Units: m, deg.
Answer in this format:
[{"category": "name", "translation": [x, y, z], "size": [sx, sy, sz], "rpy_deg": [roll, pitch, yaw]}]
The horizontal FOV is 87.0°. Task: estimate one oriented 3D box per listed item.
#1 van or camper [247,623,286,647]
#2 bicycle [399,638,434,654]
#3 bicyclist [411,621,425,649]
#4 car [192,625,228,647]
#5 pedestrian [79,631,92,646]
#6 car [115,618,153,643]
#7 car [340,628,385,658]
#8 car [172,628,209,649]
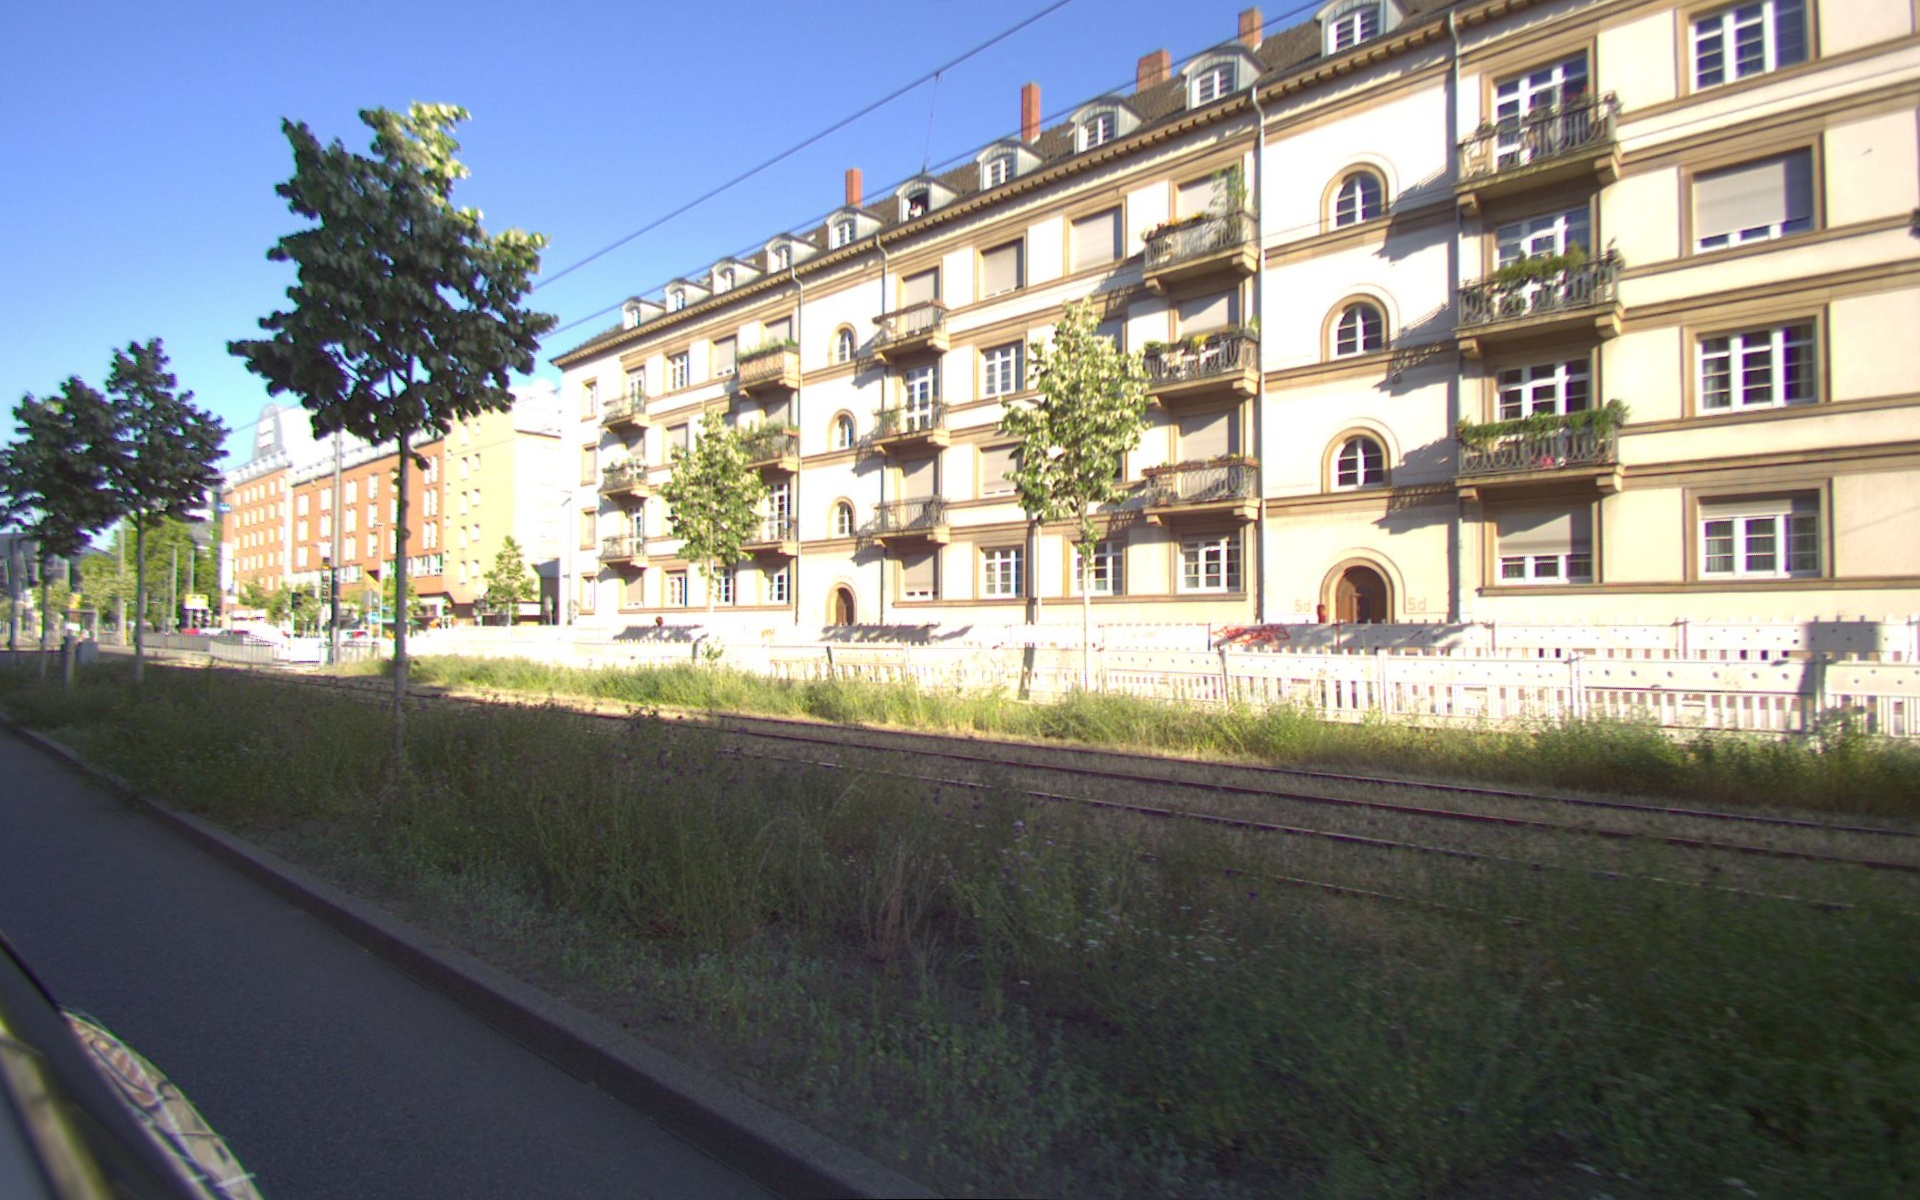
[{"category": "van or camper", "translation": [-66.463, 3.370, 96.964], "size": [5.615, 2.186, 1.971], "rpy_deg": [-4, -4, 43]}, {"category": "bicycle", "translation": [-32.438, 2.747, 60.391], "size": [0.684, 0.955, 1.720], "rpy_deg": [-2, -2, 38]}, {"category": "bicyclist", "translation": [-32.374, 2.078, 60.488], "size": [0.665, 1.693, 0.481], "rpy_deg": [-2, -2, 38]}, {"category": "car", "translation": [-66.211, 3.222, 89.335], "size": [4.317, 1.881, 1.865], "rpy_deg": [-3, -3, 44]}, {"category": "pedestrian", "translation": [-71.139, 3.097, 82.337], "size": [0.906, 1.199, 0.666], "rpy_deg": [-1, -2, 41]}, {"category": "car", "translation": [-80.475, 2.948, 98.526], "size": [4.917, 2.376, 2.024], "rpy_deg": [-1, -2, 41]}, {"category": "car", "translation": [-42.766, 3.073, 72.399], "size": [1.969, 2.029, 4.151], "rpy_deg": [2, -3, -42]}, {"category": "car", "translation": [-72.040, 3.637, 94.695], "size": [4.313, 1.881, 1.866], "rpy_deg": [-3, -3, 41]}]
